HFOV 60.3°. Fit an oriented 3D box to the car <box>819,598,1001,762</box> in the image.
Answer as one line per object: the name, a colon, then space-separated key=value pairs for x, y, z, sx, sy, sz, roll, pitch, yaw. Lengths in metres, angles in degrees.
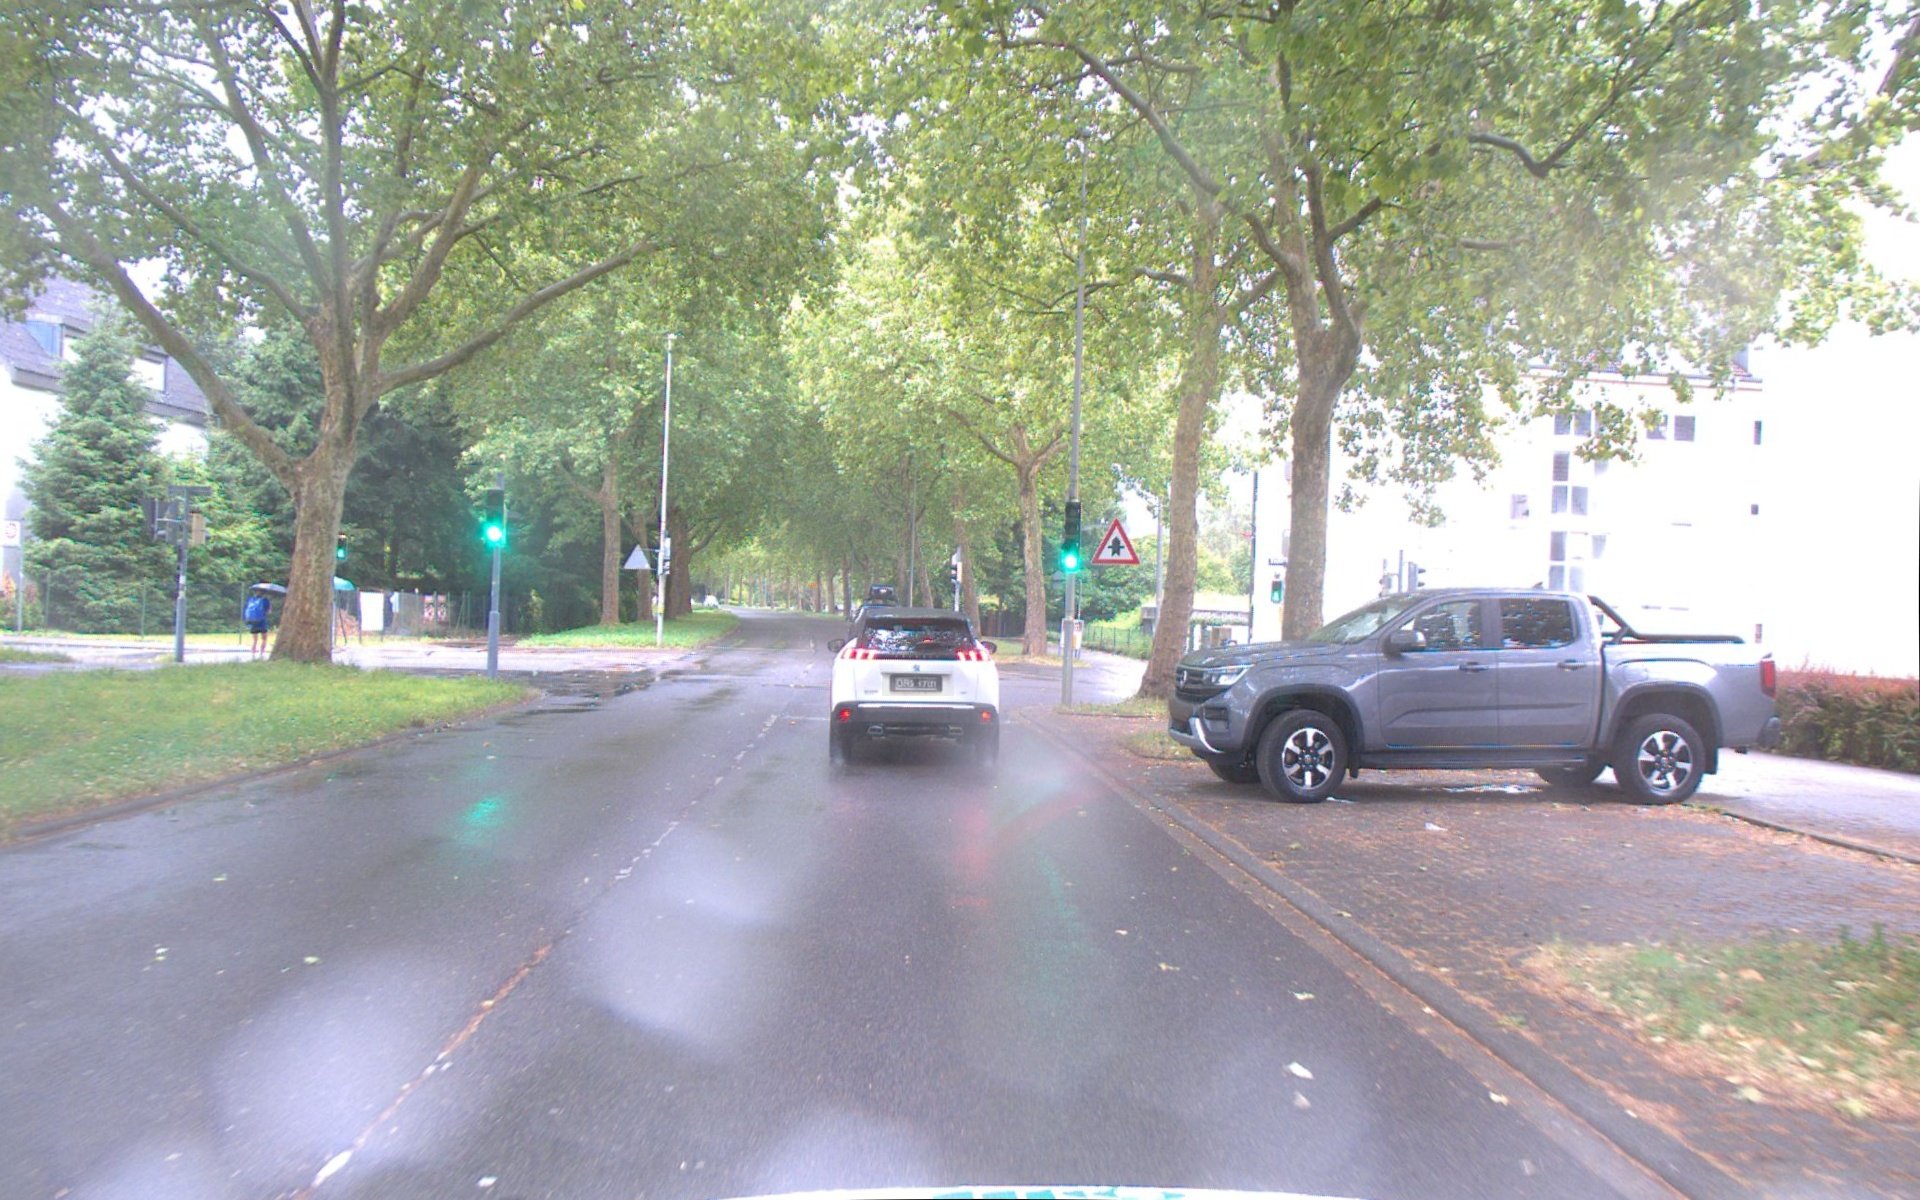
car: x=-0.526 y=0.826 z=18.145 sx=1.744 sy=1.563 sz=4.056 roll=1 pitch=-1 yaw=-1

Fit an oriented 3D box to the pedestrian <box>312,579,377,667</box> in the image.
pedestrian: x=-12.948 y=0.482 z=34.824 sx=1.012 sy=1.796 sz=0.838 roll=1 pitch=0 yaw=-1

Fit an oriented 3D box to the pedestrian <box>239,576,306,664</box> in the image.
pedestrian: x=-14.373 y=0.418 z=34.597 sx=1.012 sy=1.796 sz=0.879 roll=1 pitch=0 yaw=-1

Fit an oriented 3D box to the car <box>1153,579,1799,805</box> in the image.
car: x=4.499 y=0.772 z=14.756 sx=5.238 sy=1.838 sz=1.842 roll=0 pitch=-1 yaw=-8

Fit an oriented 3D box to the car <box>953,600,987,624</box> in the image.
car: x=0.635 y=0.802 z=110.433 sx=1.868 sy=1.536 sz=3.927 roll=2 pitch=0 yaw=-5

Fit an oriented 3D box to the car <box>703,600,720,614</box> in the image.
car: x=-32.300 y=0.870 z=214.967 sx=1.837 sy=1.706 sz=3.704 roll=2 pitch=0 yaw=-5
